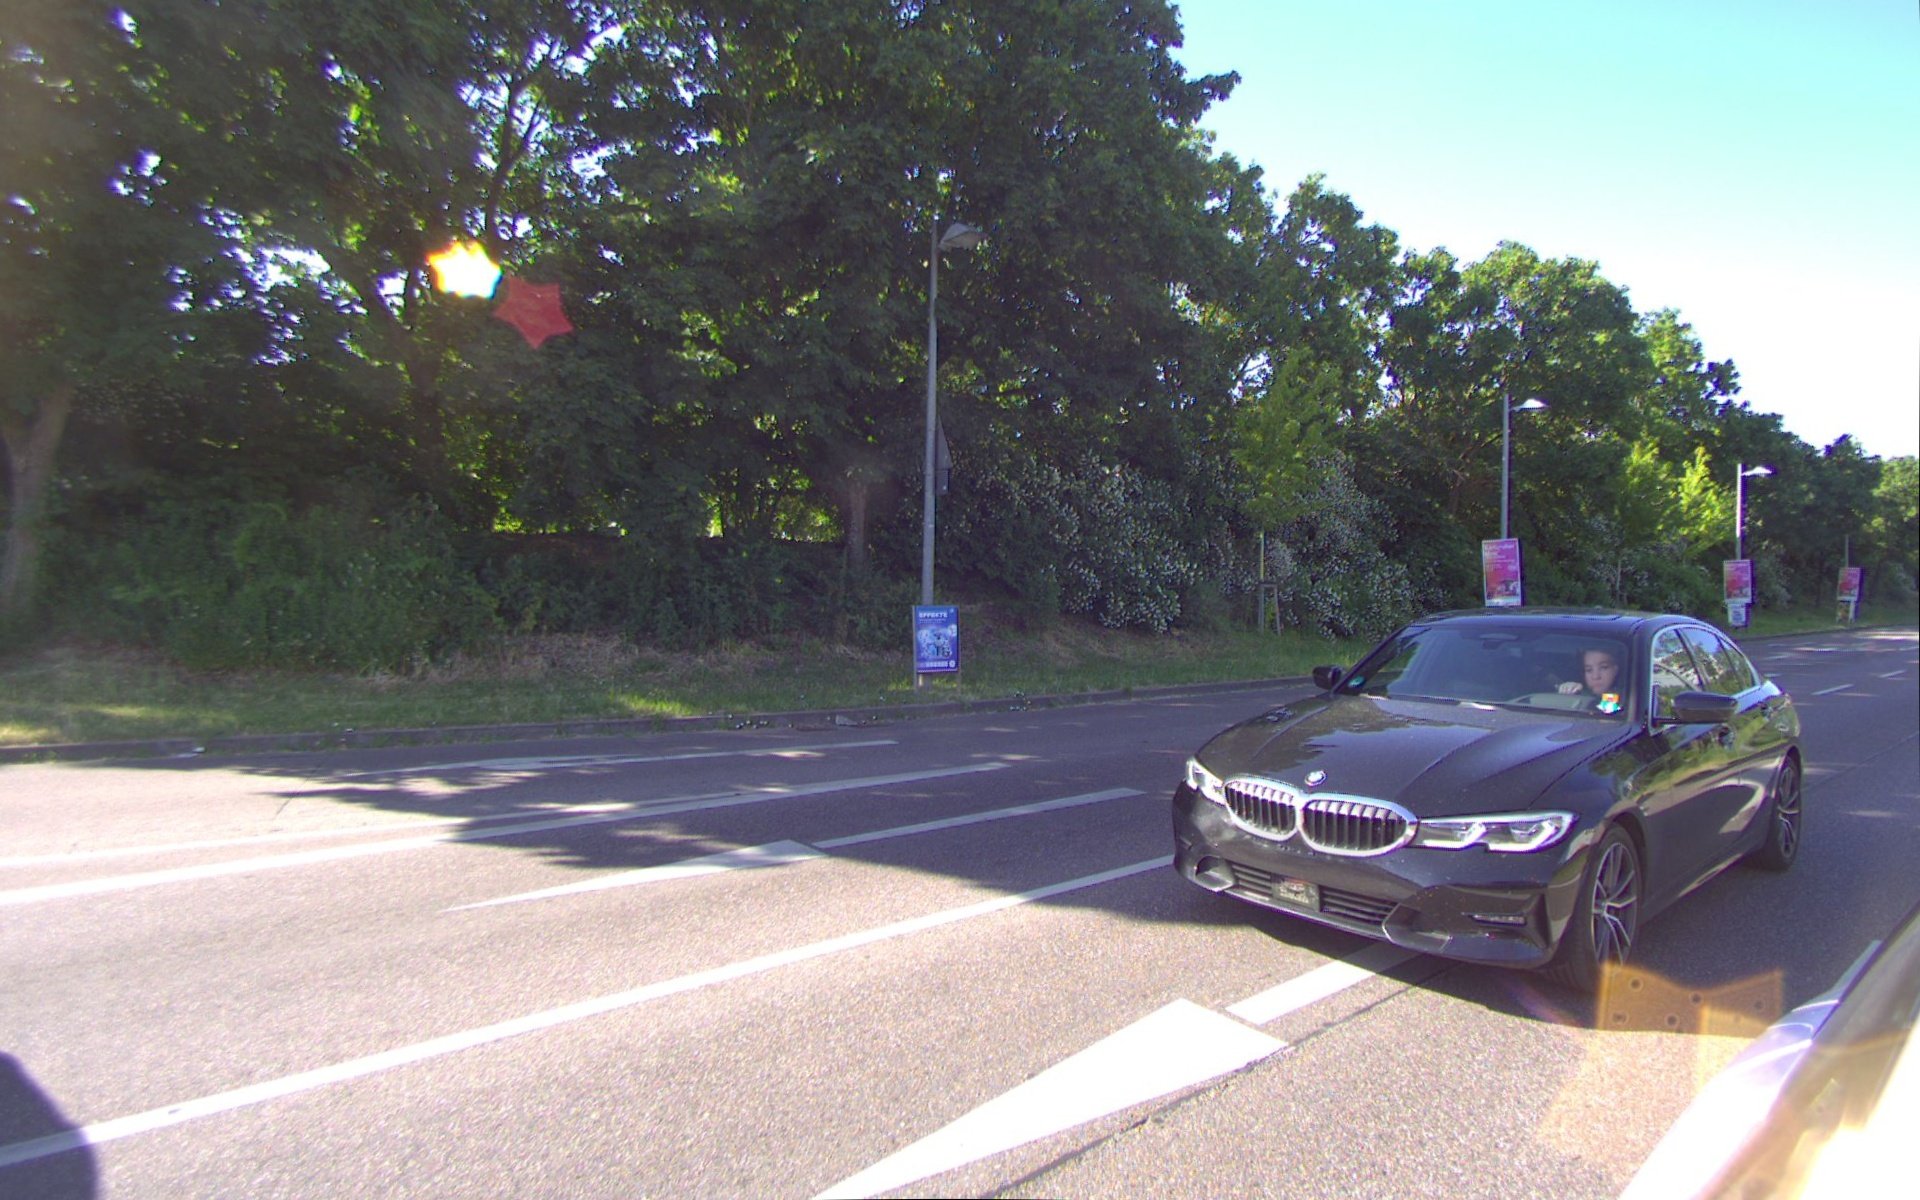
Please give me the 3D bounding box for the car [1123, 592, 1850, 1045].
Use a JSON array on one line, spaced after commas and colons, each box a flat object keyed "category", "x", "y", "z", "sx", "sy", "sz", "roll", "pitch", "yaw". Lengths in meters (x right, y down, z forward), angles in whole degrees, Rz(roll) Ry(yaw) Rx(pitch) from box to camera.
[{"category": "car", "x": 3.033, "y": 0.690, "z": 5.374, "sx": 4.364, "sy": 1.415, "sz": 1.874, "roll": 0, "pitch": 1, "yaw": -40}]
